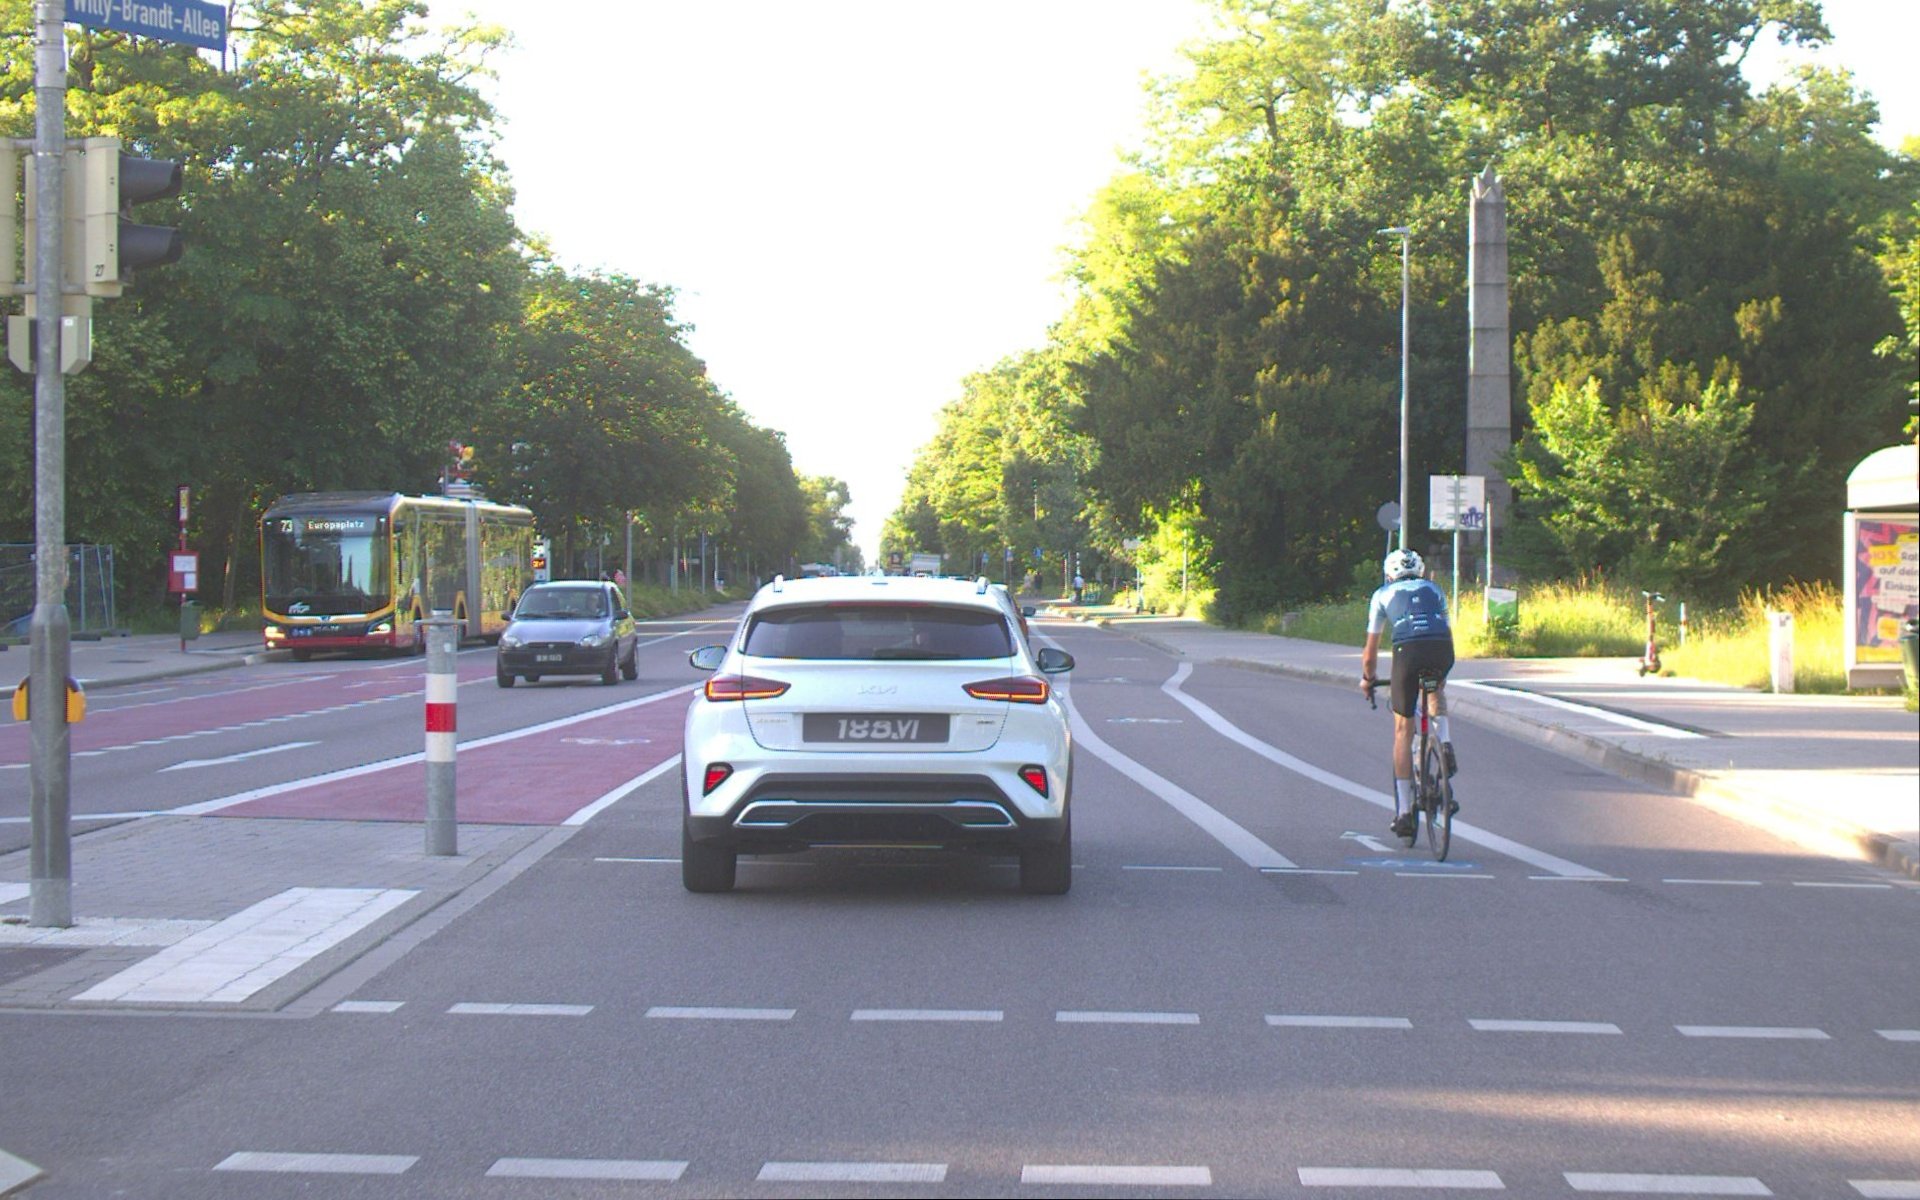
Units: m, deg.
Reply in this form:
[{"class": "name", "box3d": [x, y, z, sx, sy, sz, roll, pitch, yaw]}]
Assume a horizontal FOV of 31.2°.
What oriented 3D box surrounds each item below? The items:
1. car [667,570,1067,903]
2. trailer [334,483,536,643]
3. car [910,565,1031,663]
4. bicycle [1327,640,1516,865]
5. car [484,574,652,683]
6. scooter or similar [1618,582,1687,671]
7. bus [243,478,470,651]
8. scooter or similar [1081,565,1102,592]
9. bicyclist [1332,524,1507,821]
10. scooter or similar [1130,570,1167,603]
[{"class": "car", "box3d": [-0.559, 0.591, 17.129, 1.761, 1.454, 3.818, 1, 1, -5]}, {"class": "trailer", "box3d": [-11.864, -0.815, 78.579, 2.855, 3.344, 9.362, 2, 0, 2]}, {"class": "car", "box3d": [0.192, 0.186, 51.832, 1.676, 1.413, 3.573, 0, 1, 3]}, {"class": "bicycle", "box3d": [2.514, 0.804, 18.941, 0.891, 1.092, 2.136, 1, 1, 5]}, {"class": "car", "box3d": [-5.365, 0.362, 47.578, 1.710, 1.416, 4.554, 0, 1, 1]}, {"class": "scooter or similar", "box3d": [9.973, 0.373, 49.454, 0.722, 1.243, 1.326, 0, 1, 23]}, {"class": "bus", "box3d": [-12.074, -0.725, 69.593, 2.840, 3.186, 8.599, 2, 1, 1]}, {"class": "scooter or similar", "box3d": [6.910, -1.116, 180.889, 0.682, 1.418, 1.682, 0, 1, -14]}, {"class": "bicyclist", "box3d": [2.494, 0.380, 18.742, 0.860, 1.562, 0.881, 1, 1, 5]}, {"class": "scooter or similar", "box3d": [7.300, -0.520, 133.318, 1.537, 1.245, 0.534, -1, 1, -44]}]
